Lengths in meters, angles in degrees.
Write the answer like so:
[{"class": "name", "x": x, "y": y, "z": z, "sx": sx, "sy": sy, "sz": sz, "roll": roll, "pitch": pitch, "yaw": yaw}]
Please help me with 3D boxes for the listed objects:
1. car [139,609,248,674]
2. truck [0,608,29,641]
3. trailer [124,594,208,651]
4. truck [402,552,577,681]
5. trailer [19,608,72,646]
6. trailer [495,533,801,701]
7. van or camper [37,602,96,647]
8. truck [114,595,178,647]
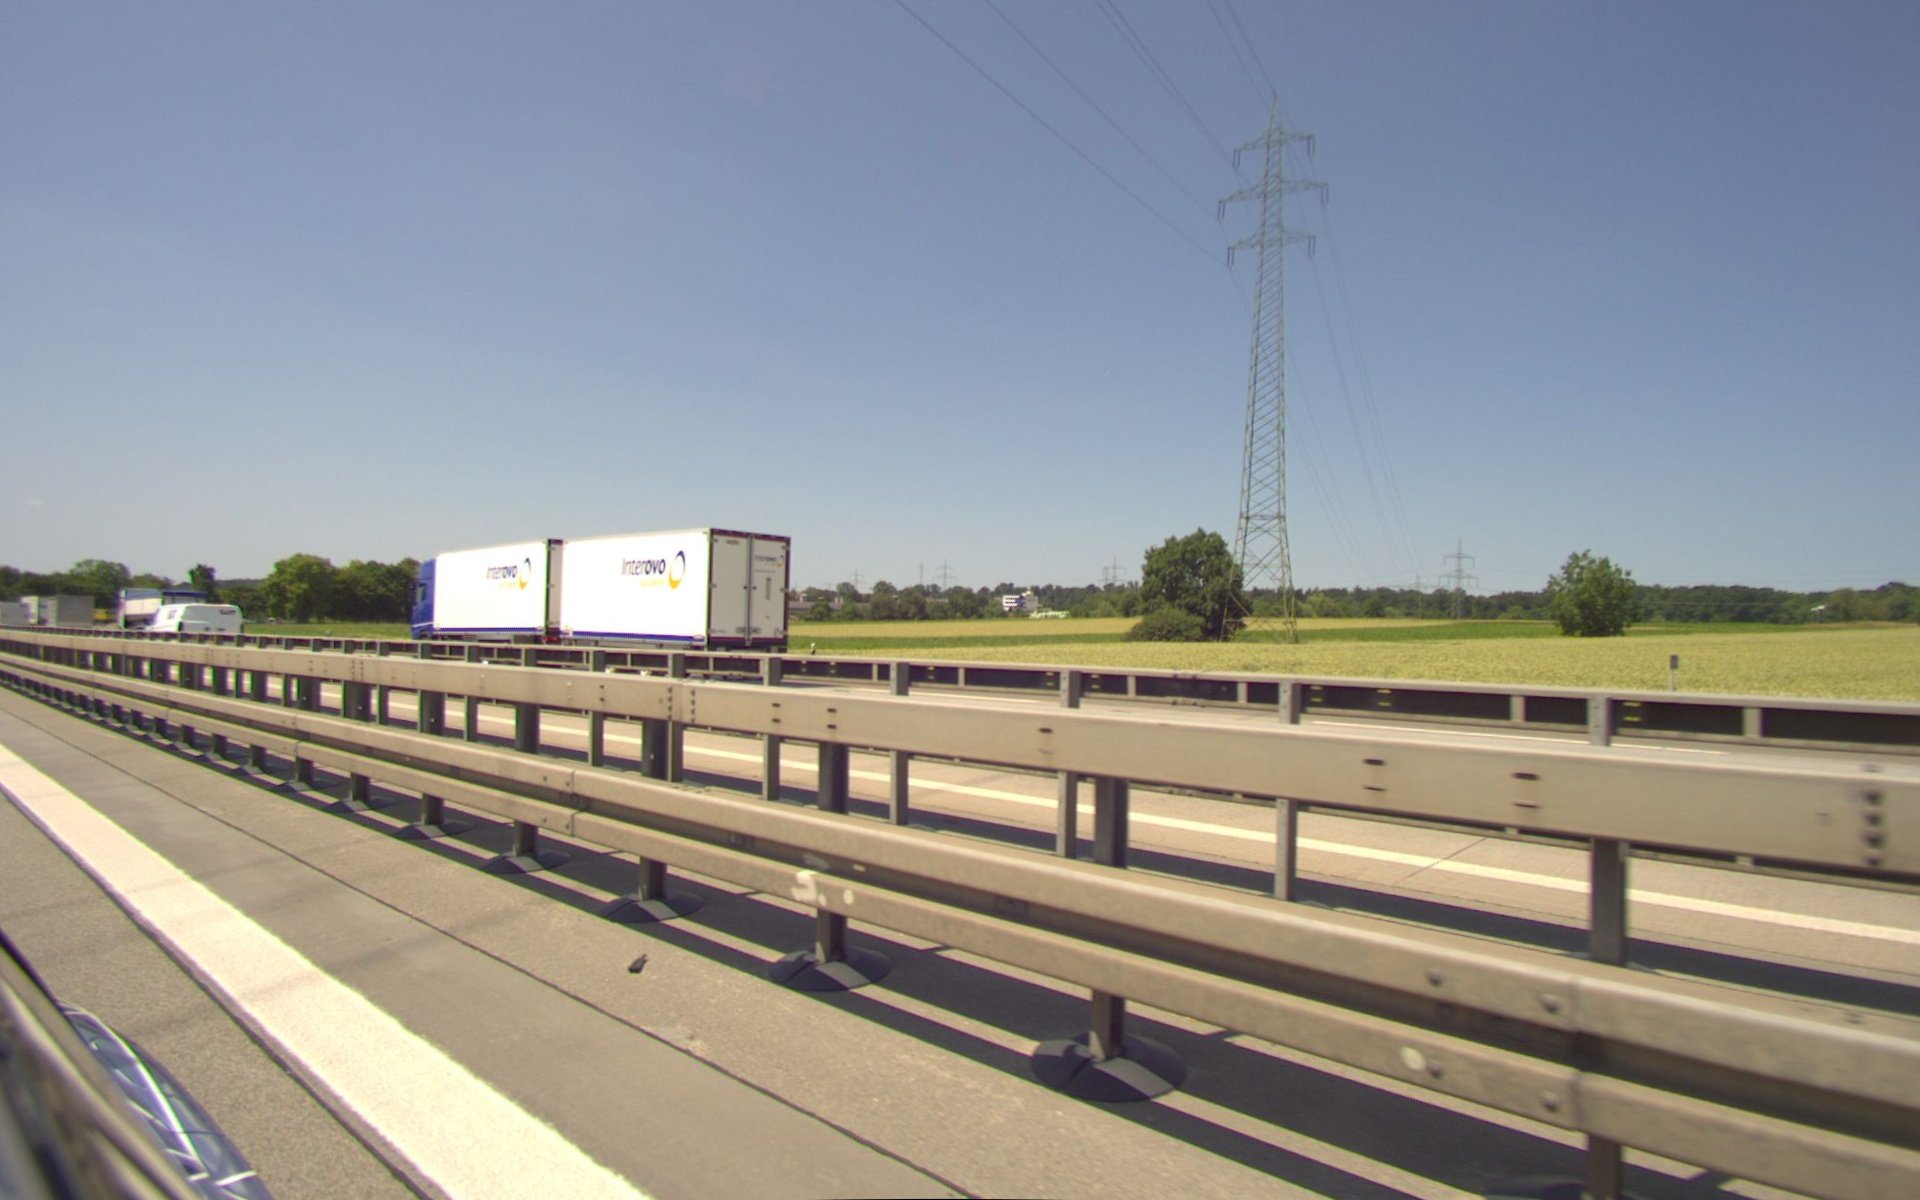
[{"class": "car", "x": -25.918, "y": 1.400, "z": 34.161, "sx": 4.647, "sy": 2.025, "sz": 1.963, "roll": -1, "pitch": -4, "yaw": 41}, {"class": "truck", "x": -90.502, "y": 2.346, "z": 96.128, "sx": 7.425, "sy": 3.033, "sz": 2.225, "roll": -1, "pitch": -3, "yaw": 42}, {"class": "trailer", "x": -56.142, "y": 1.535, "z": 71.423, "sx": 11.354, "sy": 3.720, "sz": 2.678, "roll": -1, "pitch": 0, "yaw": 41}, {"class": "truck", "x": -16.798, "y": 0.558, "z": 35.862, "sx": 7.527, "sy": 4.120, "sz": 2.792, "roll": -1, "pitch": 0, "yaw": 41}, {"class": "trailer", "x": -100.777, "y": 2.915, "z": 111.417, "sx": 12.888, "sy": 3.947, "sz": 2.927, "roll": -1, "pitch": 0, "yaw": 41}, {"class": "trailer", "x": -9.529, "y": 0.456, "z": 29.516, "sx": 11.660, "sy": 4.077, "sz": 2.803, "roll": -1, "pitch": 0, "yaw": 41}, {"class": "van or camper", "x": -66.425, "y": 1.839, "z": 75.177, "sx": 7.398, "sy": 3.189, "sz": 2.315, "roll": -1, "pitch": -3, "yaw": 41}, {"class": "truck", "x": -60.787, "y": 1.563, "z": 75.514, "sx": 6.053, "sy": 3.718, "sz": 2.690, "roll": -1, "pitch": 0, "yaw": 41}]
